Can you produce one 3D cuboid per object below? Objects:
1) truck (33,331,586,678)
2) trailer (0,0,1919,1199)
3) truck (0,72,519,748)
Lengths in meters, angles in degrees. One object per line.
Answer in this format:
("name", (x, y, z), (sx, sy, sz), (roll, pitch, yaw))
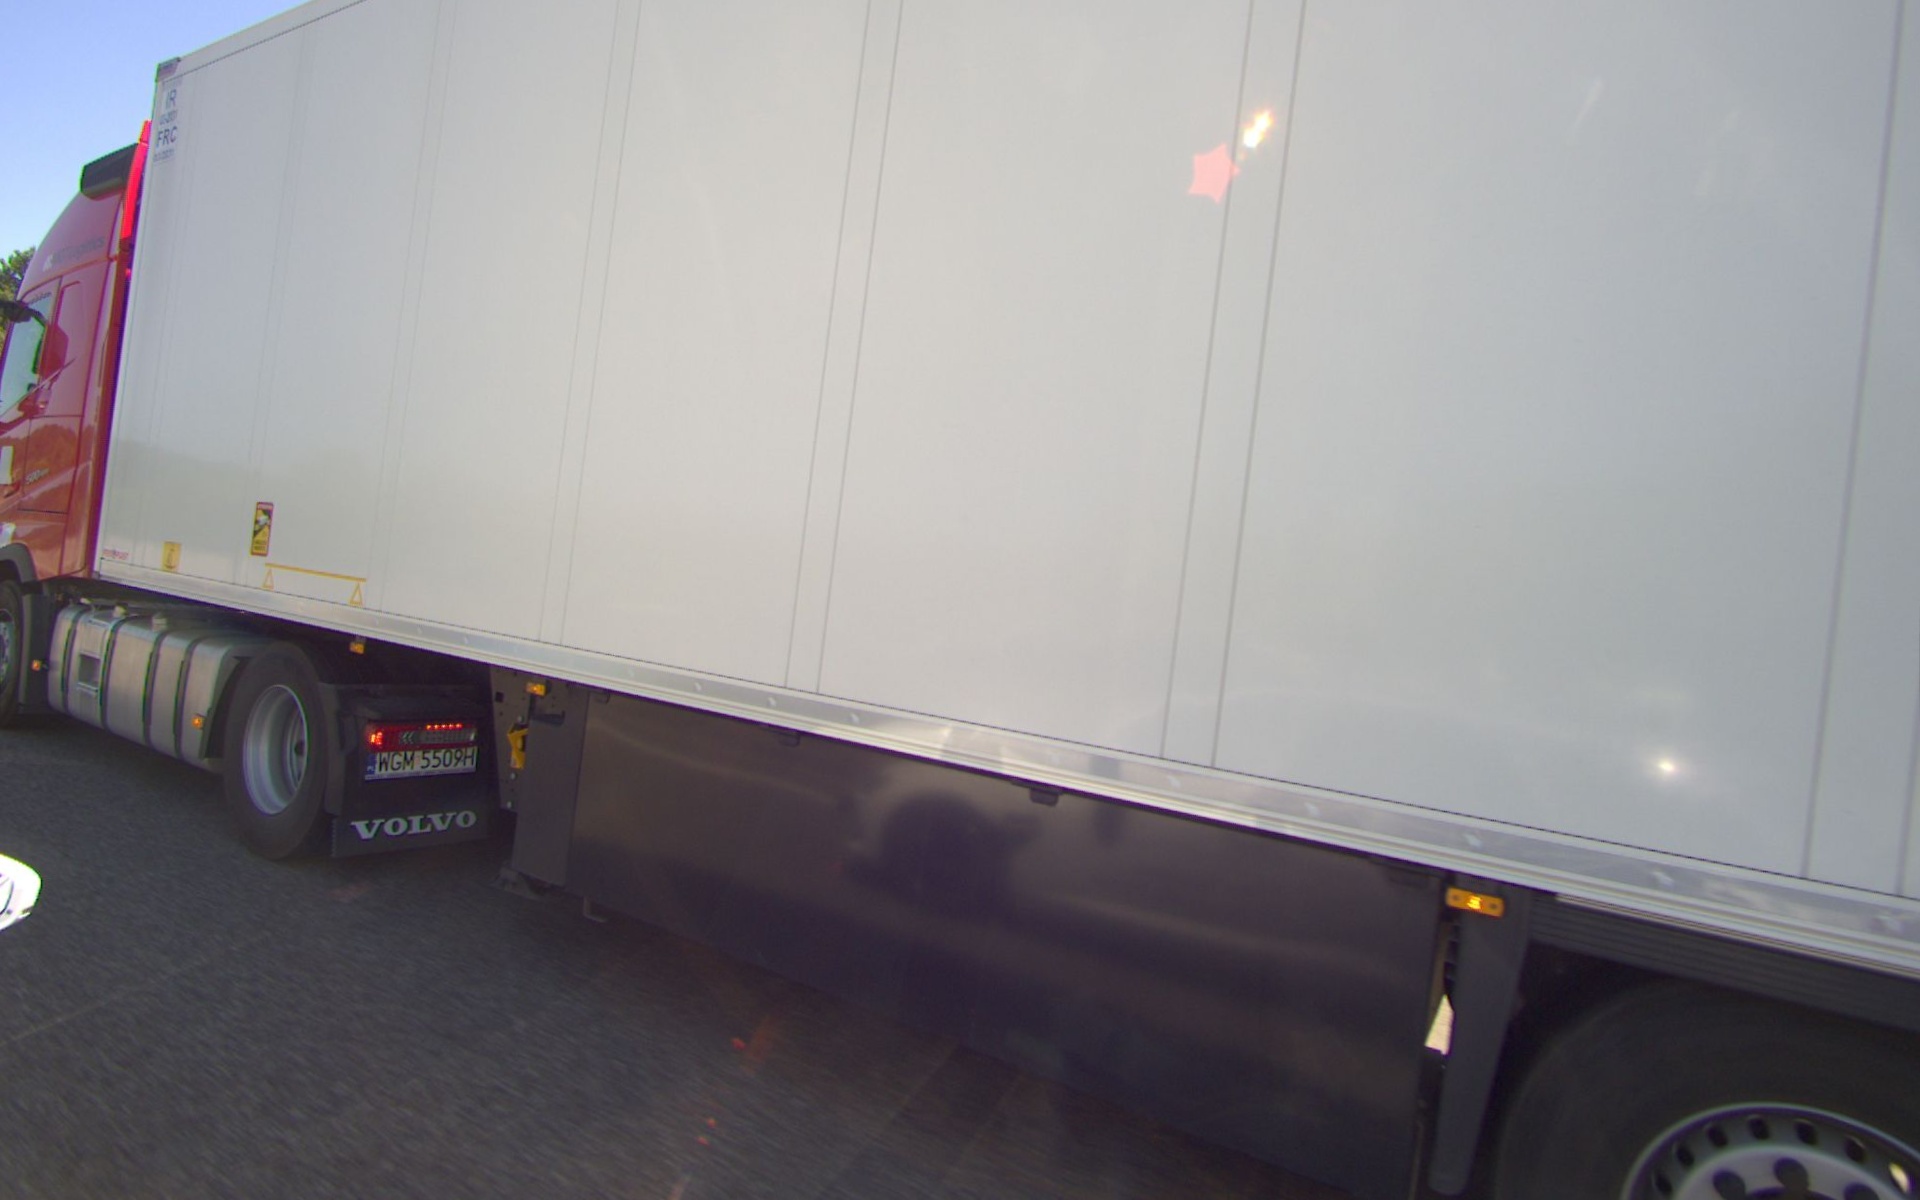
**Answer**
("truck", (-11.034, -1.535, 16.380), (10.798, 4.141, 3.030), (6, -1, 33))
("trailer", (0.046, -0.474, 4.275), (15.931, 4.065, 2.943), (6, -1, 32))
("truck", (-7.251, -1.262, 8.786), (6.000, 4.033, 2.946), (6, -1, 31))
